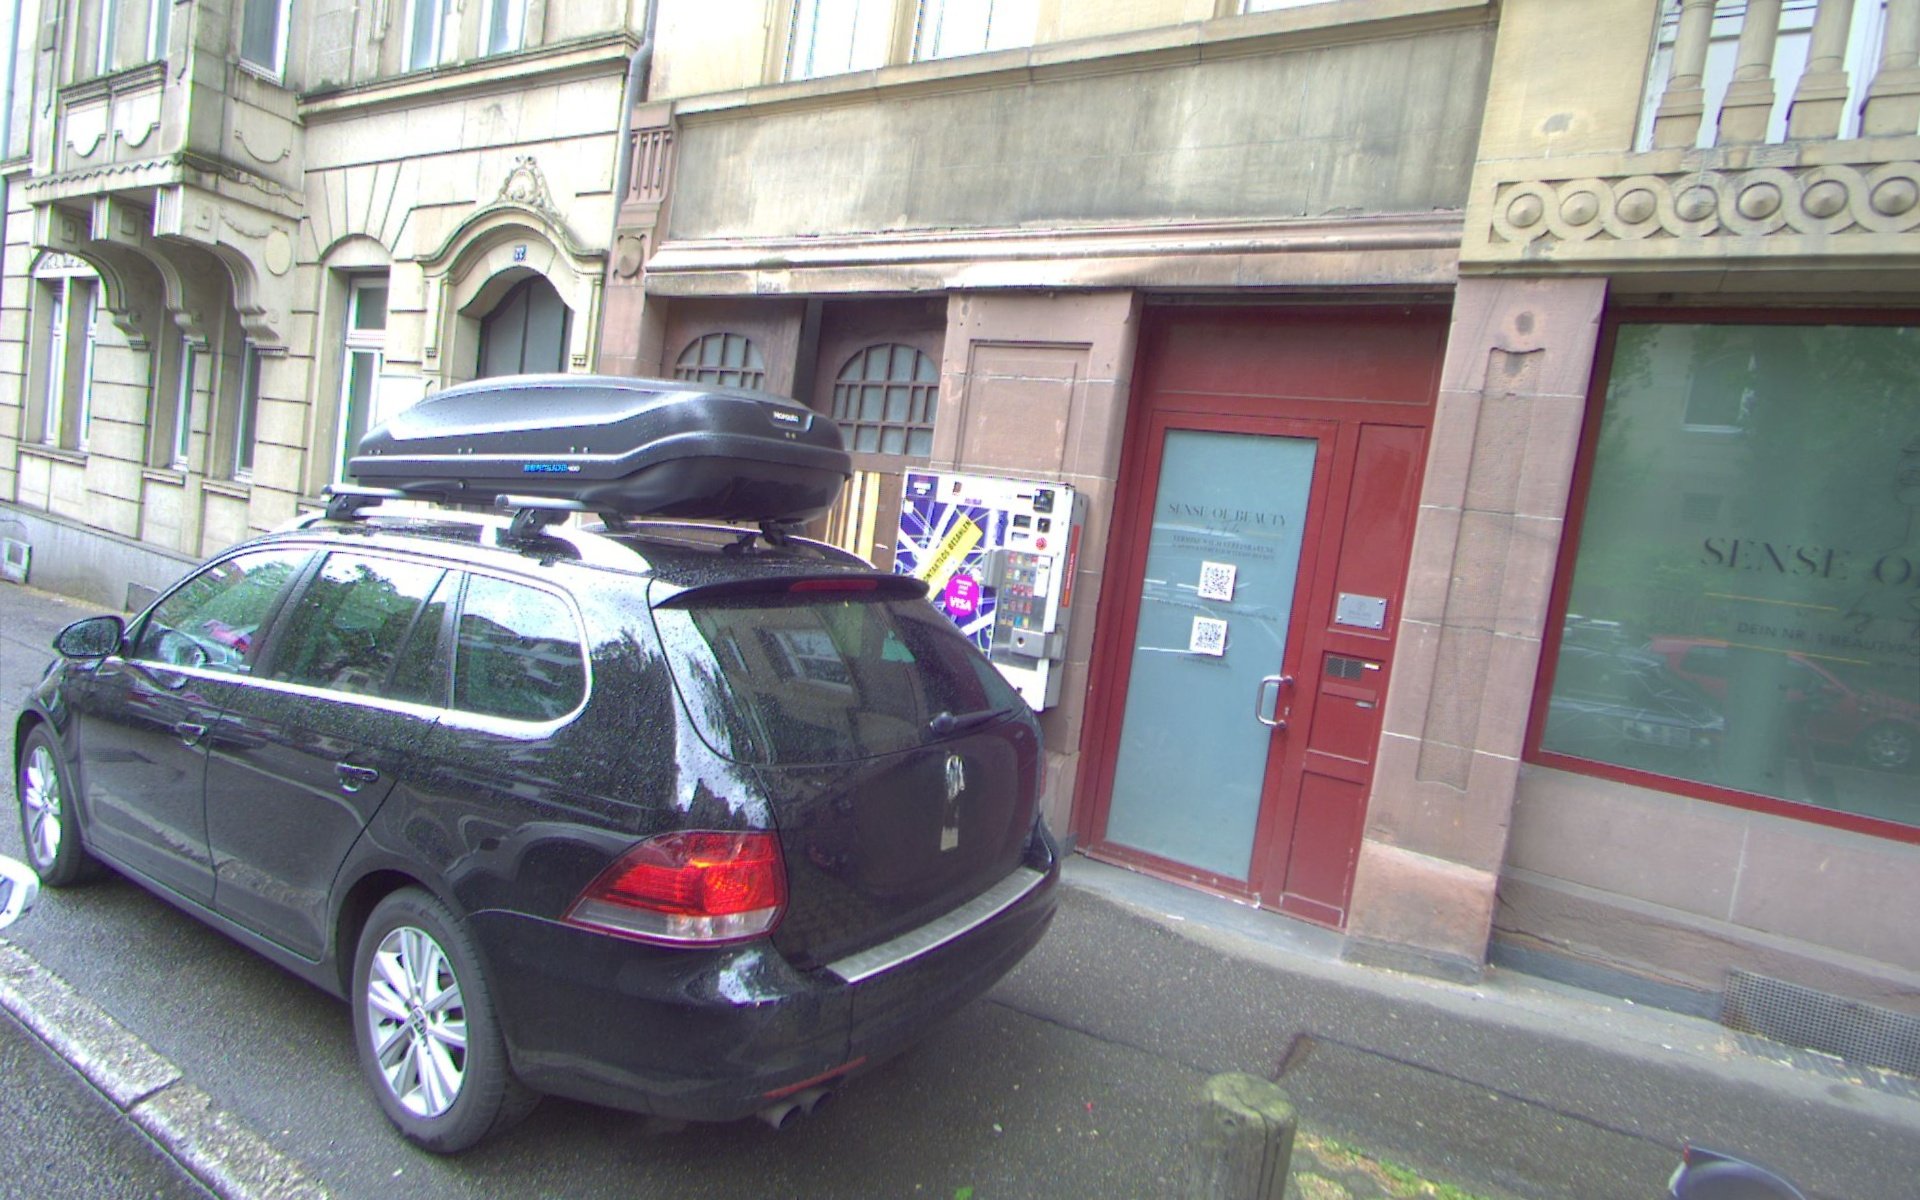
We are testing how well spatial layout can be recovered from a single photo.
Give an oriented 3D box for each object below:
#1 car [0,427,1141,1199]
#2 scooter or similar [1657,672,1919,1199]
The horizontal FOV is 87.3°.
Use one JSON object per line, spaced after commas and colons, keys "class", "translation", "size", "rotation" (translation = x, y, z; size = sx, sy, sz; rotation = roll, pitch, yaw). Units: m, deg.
{"class": "car", "translation": [-1.648, 0.365, 3.566], "size": [4.031, 1.675, 1.757], "rotation": [7, 6, 32]}
{"class": "scooter or similar", "translation": [2.170, 0.894, 1.937], "size": [1.183, 1.336, 0.593], "rotation": [7, 3, 32]}
